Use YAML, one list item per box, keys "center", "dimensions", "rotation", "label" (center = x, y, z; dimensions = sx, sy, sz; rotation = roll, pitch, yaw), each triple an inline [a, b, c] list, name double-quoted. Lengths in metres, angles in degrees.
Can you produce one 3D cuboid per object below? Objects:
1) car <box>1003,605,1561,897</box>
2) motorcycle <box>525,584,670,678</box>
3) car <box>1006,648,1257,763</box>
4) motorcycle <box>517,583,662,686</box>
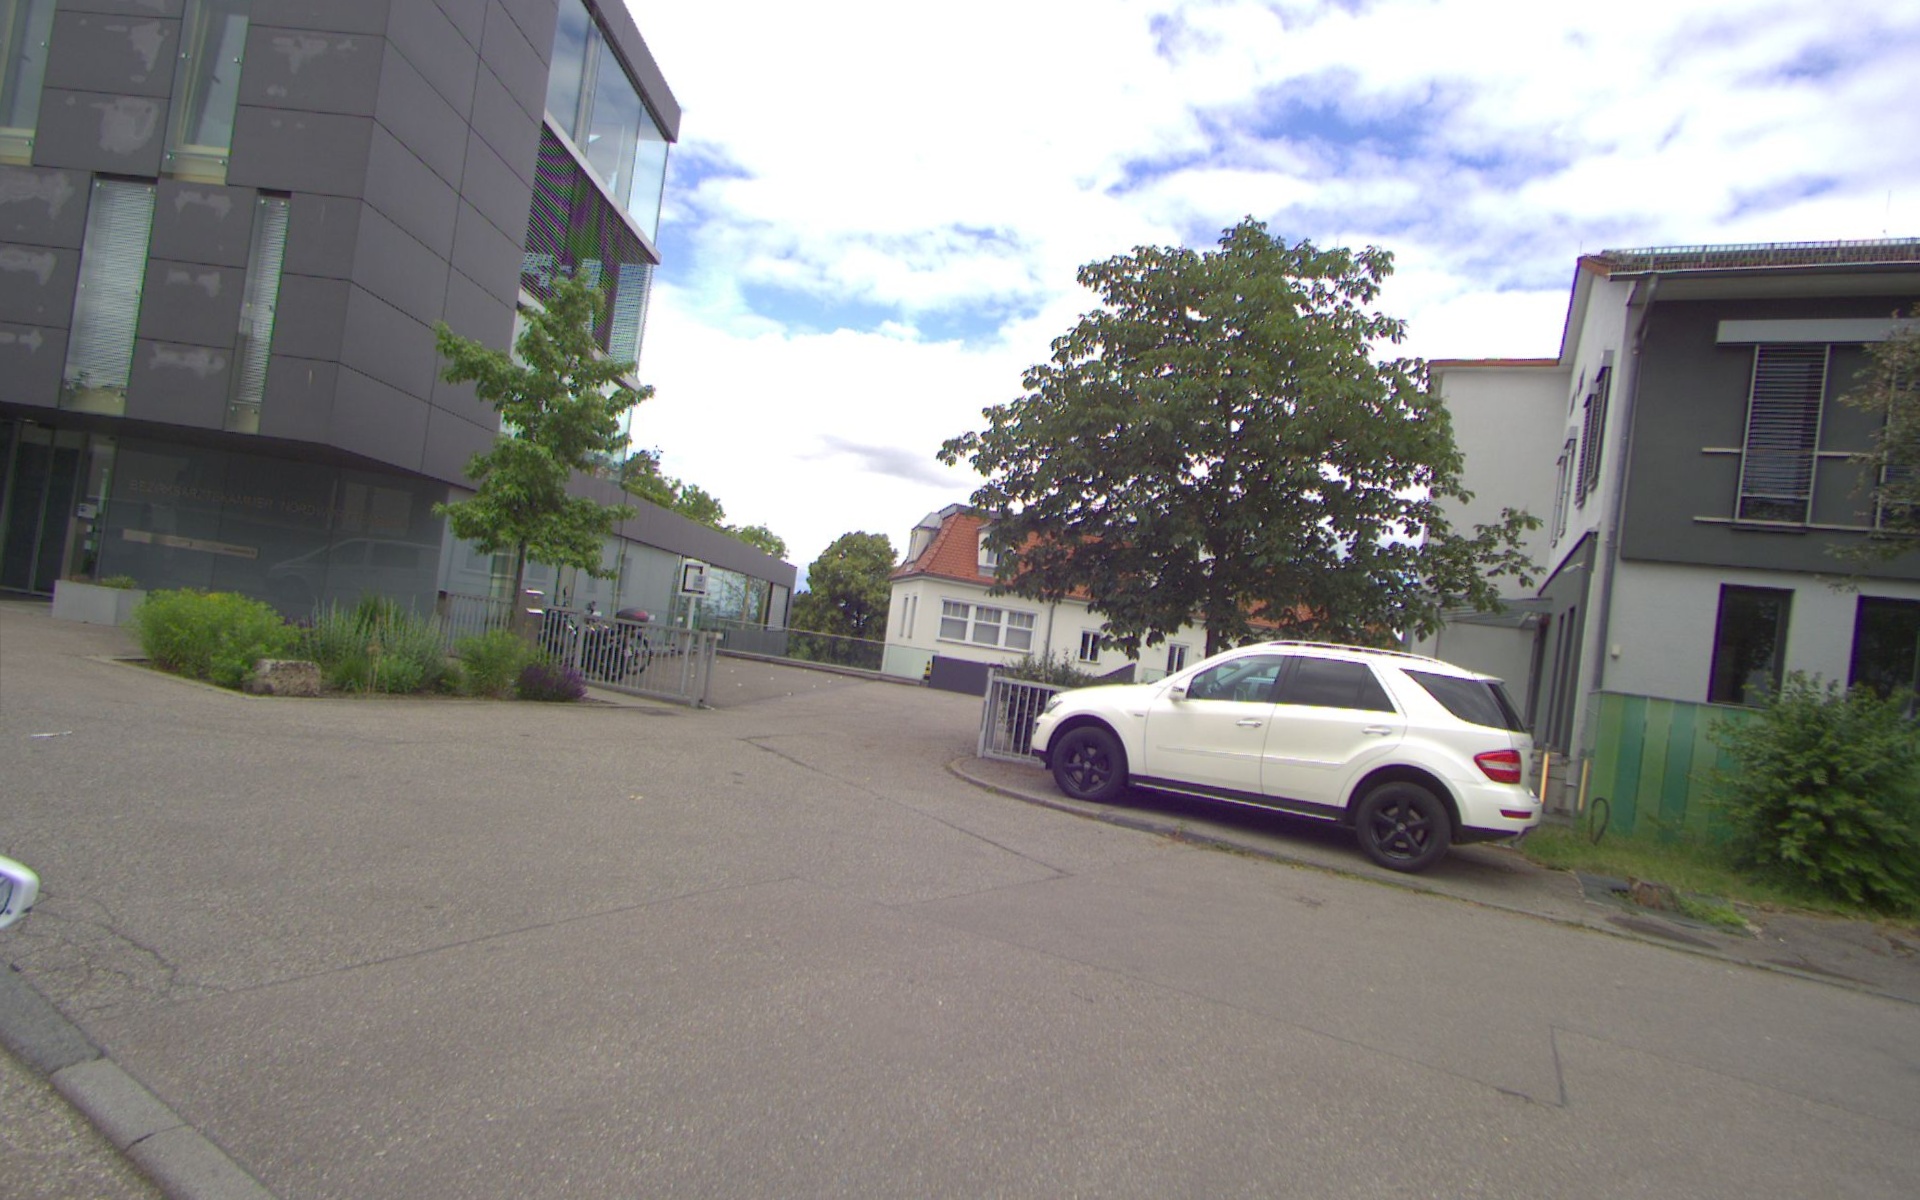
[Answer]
- center: [2.981, 1.252, 9.688]
  dimensions: [4.643, 1.778, 1.856]
  rotation: [7, -2, 31]
  label: "car"
- center: [-6.740, 0.571, 18.712]
  dimensions: [2.416, 1.409, 0.671]
  rotation: [7, -1, 13]
  label: "motorcycle"
- center: [3.134, 1.876, 18.469]
  dimensions: [4.142, 1.501, 1.621]
  rotation: [5, -2, 25]
  label: "car"
- center: [-6.154, 0.577, 16.724]
  dimensions: [2.084, 1.409, 0.671]
  rotation: [7, -1, 13]
  label: "motorcycle"
